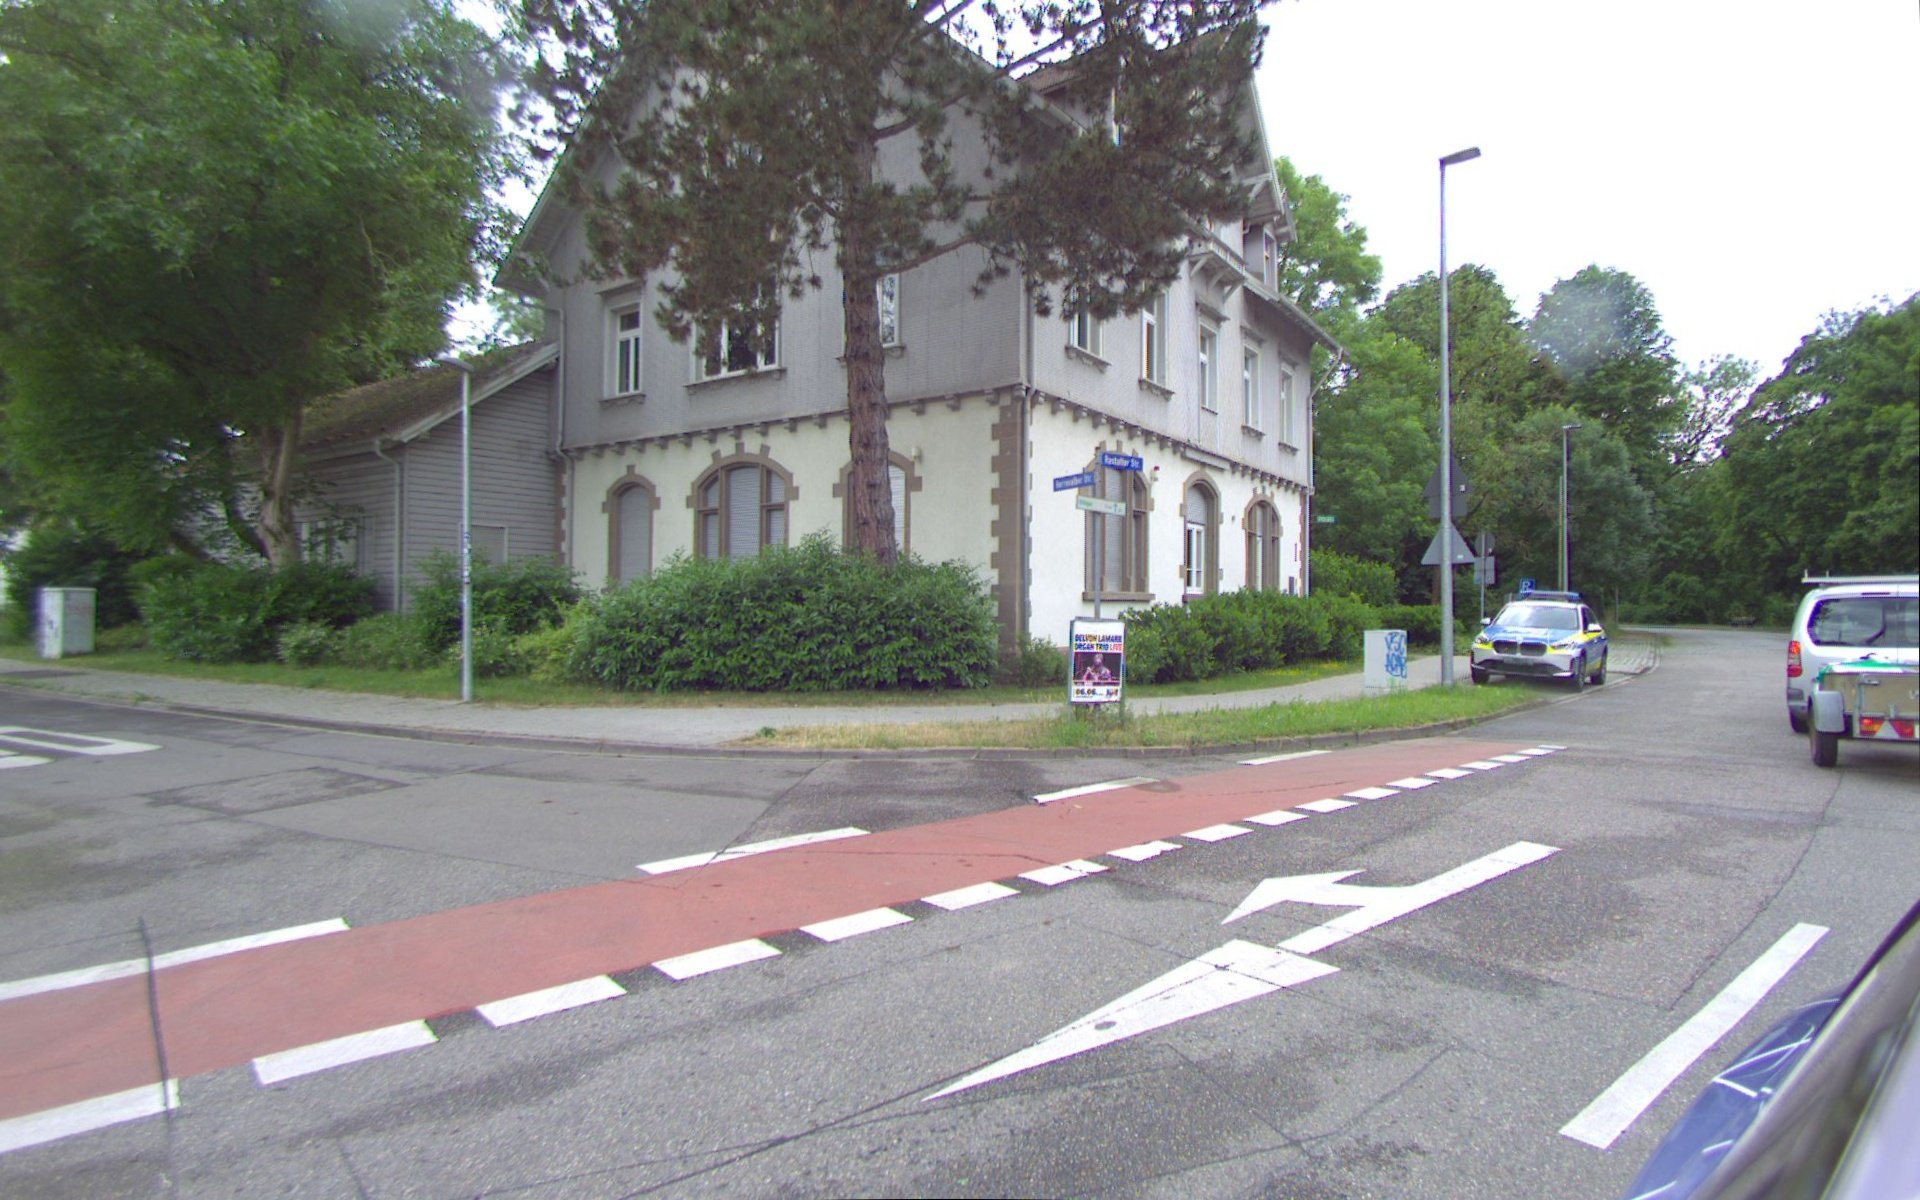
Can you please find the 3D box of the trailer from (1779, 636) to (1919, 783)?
[{"bbox_3d":[8.809,0.931,9.361,1.560,0.998,3.424,0,1,33],"label":"trailer"}]

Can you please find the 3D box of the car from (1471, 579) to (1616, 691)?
[{"bbox_3d":[11.306,0.589,19.494,1.926,1.873,3.947,3,1,37],"label":"car"}]

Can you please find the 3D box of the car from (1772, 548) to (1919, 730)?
[{"bbox_3d":[11.335,0.405,12.004,4.151,1.881,2.089,0,-1,-44],"label":"car"}]
